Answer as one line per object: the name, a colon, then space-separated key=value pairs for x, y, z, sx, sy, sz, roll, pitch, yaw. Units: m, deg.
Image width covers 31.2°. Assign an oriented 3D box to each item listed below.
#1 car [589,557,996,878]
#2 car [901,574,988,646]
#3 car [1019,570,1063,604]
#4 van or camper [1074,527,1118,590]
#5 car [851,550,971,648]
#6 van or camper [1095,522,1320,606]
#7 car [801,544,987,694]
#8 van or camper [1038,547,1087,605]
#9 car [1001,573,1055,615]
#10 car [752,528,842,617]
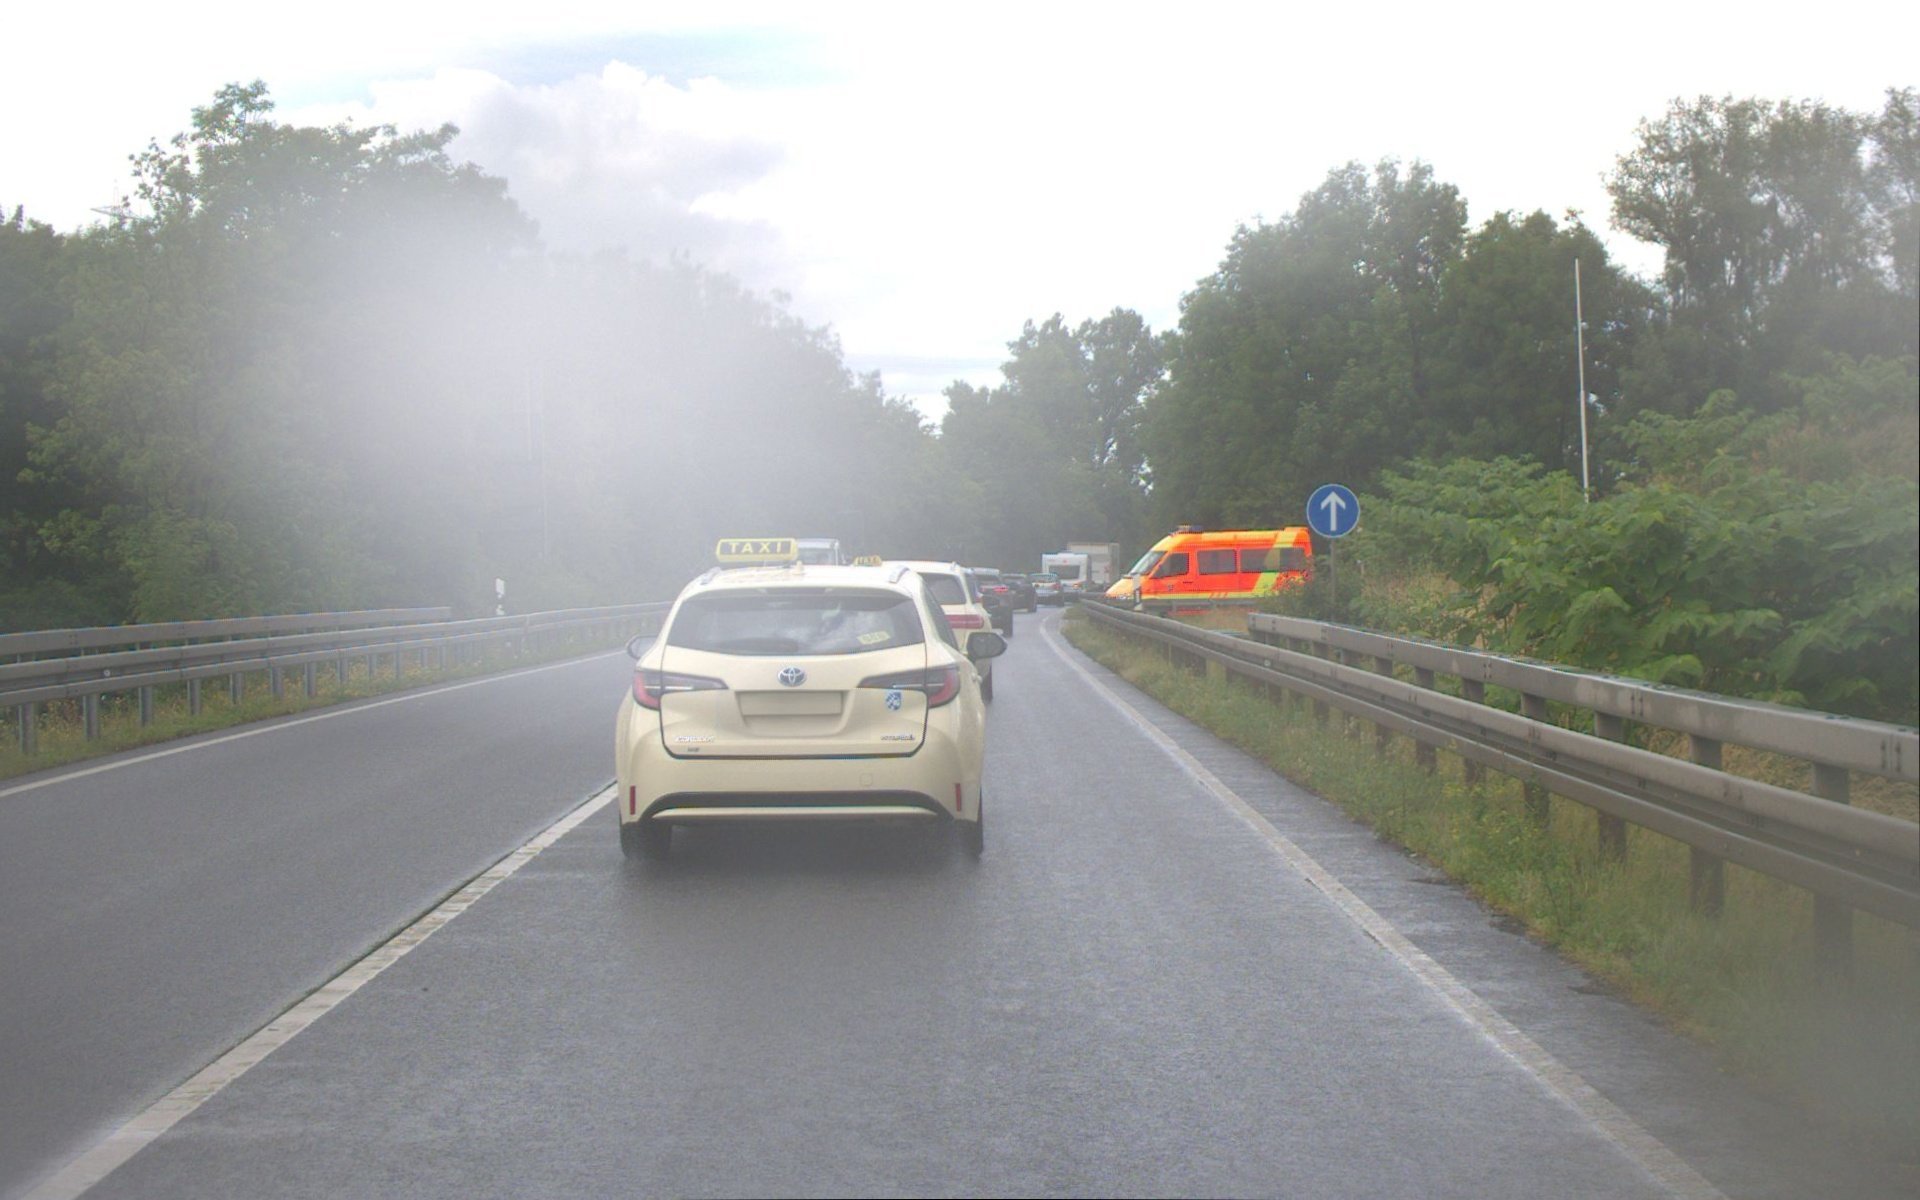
car: x=-0.806 y=0.511 z=17.791 sx=1.854 sy=1.389 sz=4.171 roll=0 pitch=2 yaw=-1
car: x=-0.368 y=0.194 z=75.890 sx=1.854 sy=1.438 sz=4.171 roll=0 pitch=2 yaw=-1
car: x=3.614 y=-0.578 z=153.053 sx=1.854 sy=1.438 sz=4.171 roll=0 pitch=1 yaw=3
van or camper: x=7.910 y=-2.440 z=200.161 sx=2.332 sy=3.550 sz=6.307 roll=0 pitch=1 yaw=0
car: x=-0.796 y=-0.043 z=55.424 sx=1.854 sy=1.438 sz=4.171 roll=0 pitch=2 yaw=-1
van or camper: x=6.633 y=-0.980 z=92.260 sx=5.676 sy=2.234 sz=2.021 roll=0 pitch=1 yaw=-15
car: x=-0.704 y=0.154 z=36.487 sx=1.854 sy=1.438 sz=4.171 roll=0 pitch=2 yaw=-1
van or camper: x=5.184 y=-1.259 z=174.340 sx=2.332 sy=2.854 sz=6.307 roll=0 pitch=1 yaw=0
car: x=2.487 y=-0.222 z=125.366 sx=1.854 sy=1.438 sz=4.171 roll=0 pitch=1 yaw=3
car: x=-4.005 y=-0.709 z=85.344 sx=1.993 sy=2.121 sz=4.895 roll=0 pitch=1 yaw=0
